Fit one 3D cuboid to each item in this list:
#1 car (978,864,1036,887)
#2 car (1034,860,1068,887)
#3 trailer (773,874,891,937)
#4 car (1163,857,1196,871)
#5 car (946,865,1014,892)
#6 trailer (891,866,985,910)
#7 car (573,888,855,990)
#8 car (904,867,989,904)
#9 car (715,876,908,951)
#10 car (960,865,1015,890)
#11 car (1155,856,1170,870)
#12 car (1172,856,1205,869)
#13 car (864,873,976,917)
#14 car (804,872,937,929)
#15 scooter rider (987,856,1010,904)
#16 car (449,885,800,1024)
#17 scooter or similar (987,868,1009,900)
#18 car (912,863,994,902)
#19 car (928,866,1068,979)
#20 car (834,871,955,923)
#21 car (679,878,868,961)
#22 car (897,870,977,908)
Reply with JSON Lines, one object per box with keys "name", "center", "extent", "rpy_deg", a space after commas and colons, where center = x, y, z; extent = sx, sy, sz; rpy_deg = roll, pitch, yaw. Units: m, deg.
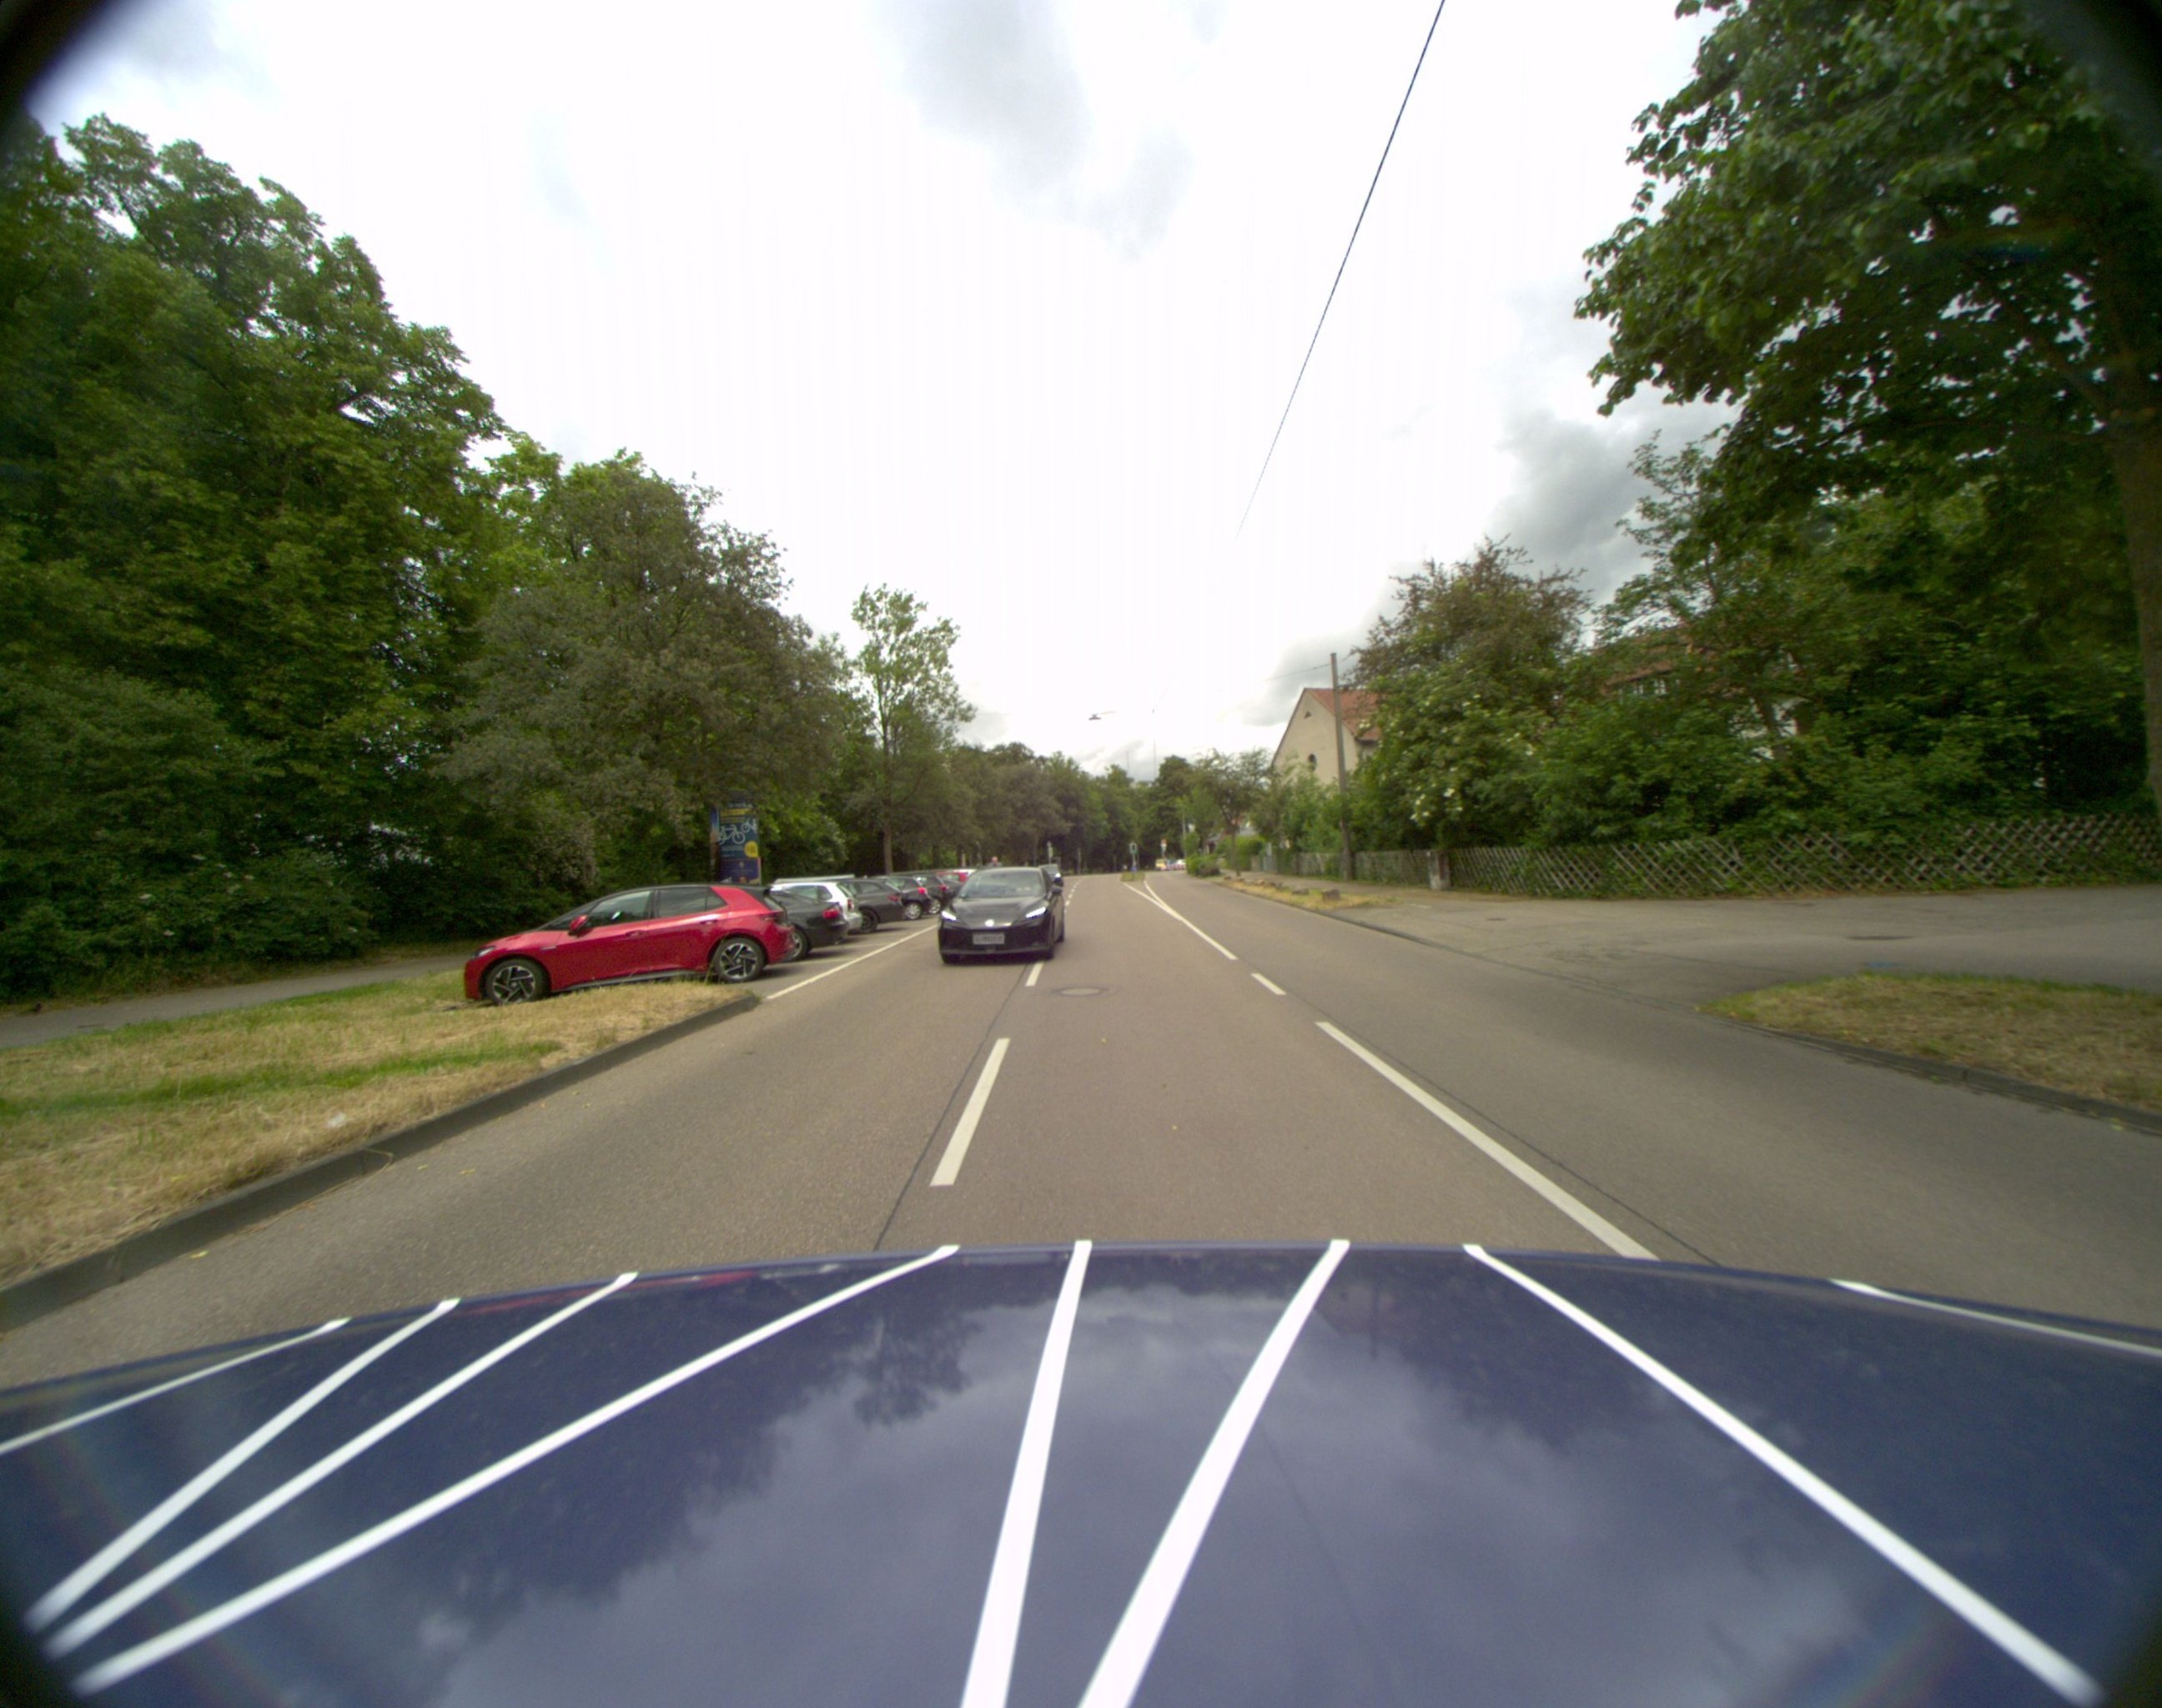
{"name": "car", "center": [-5.605, 1.597, 57.222], "extent": [4.149, 1.467, 1.575], "rpy_deg": [-4, 0, -11]}
{"name": "car", "center": [-1.830, 1.176, 47.383], "extent": [1.814, 1.520, 4.000], "rpy_deg": [-3, 0, 1]}
{"name": "trailer", "center": [-7.093, 1.452, 21.860], "extent": [2.996, 1.533, 1.302], "rpy_deg": [-4, -1, -12]}
{"name": "car", "center": [13.284, 1.331, 102.424], "extent": [4.175, 1.537, 1.846], "rpy_deg": [-3, -2, 0]}
{"name": "car", "center": [-6.530, 1.592, 49.445], "extent": [4.232, 1.455, 1.634], "rpy_deg": [-4, 0, -8]}
{"name": "trailer", "center": [-6.031, 1.418, 32.149], "extent": [3.701, 1.526, 1.645], "rpy_deg": [-4, 0, -10]}
{"name": "car", "center": [-6.514, 1.479, 13.998], "extent": [4.328, 1.333, 1.732], "rpy_deg": [-4, 0, -13]}
{"name": "car", "center": [-6.498, 1.517, 37.092], "extent": [3.831, 1.520, 1.605], "rpy_deg": [-4, 0, -3]}
{"name": "car", "center": [-6.741, 1.450, 19.363], "extent": [4.361, 1.437, 1.632], "rpy_deg": [-4, 0, -17]}
{"name": "car", "center": [-6.431, 1.582, 52.083], "extent": [3.535, 1.467, 1.591], "rpy_deg": [-4, 0, -11]}
{"name": "car", "center": [11.848, 1.330, 110.852], "extent": [1.920, 1.977, 4.803], "rpy_deg": [-3, -1, 5]}
{"name": "car", "center": [14.143, 1.180, 100.136], "extent": [3.904, 1.463, 1.845], "rpy_deg": [-3, -2, -7]}
{"name": "car", "center": [-6.132, 1.540, 29.194], "extent": [4.050, 1.320, 1.558], "rpy_deg": [-4, 1, -10]}
{"name": "car", "center": [-6.596, 1.441, 24.174], "extent": [3.853, 1.446, 1.633], "rpy_deg": [-4, 0, -10]}
{"name": "scooter rider", "center": [-3.105, 0.974, 28.628], "extent": [0.683, 1.720, 1.196], "rpy_deg": [-4, 0, -4]}
{"name": "car", "center": [-6.461, 1.366, 11.300], "extent": [4.087, 1.506, 1.731], "rpy_deg": [-3, 0, -17]}
{"name": "scooter or similar", "center": [-3.119, 1.110, 28.674], "extent": [0.683, 1.132, 1.459], "rpy_deg": [-4, -1, -4]}
{"name": "car", "center": [-6.665, 1.446, 39.568], "extent": [3.999, 1.715, 1.679], "rpy_deg": [-4, 0, -10]}
{"name": "car", "center": [-1.270, 1.058, 13.454], "extent": [1.803, 1.541, 4.299], "rpy_deg": [-3, 0, 2]}
{"name": "car", "center": [-6.497, 1.477, 26.758], "extent": [3.925, 1.478, 1.617], "rpy_deg": [-4, 0, -11]}
{"name": "car", "center": [-6.654, 1.379, 16.827], "extent": [3.623, 1.437, 1.632], "rpy_deg": [-4, 0, -15]}
{"name": "car", "center": [-6.542, 1.562, 34.644], "extent": [3.436, 1.437, 1.558], "rpy_deg": [-4, 0, -11]}
